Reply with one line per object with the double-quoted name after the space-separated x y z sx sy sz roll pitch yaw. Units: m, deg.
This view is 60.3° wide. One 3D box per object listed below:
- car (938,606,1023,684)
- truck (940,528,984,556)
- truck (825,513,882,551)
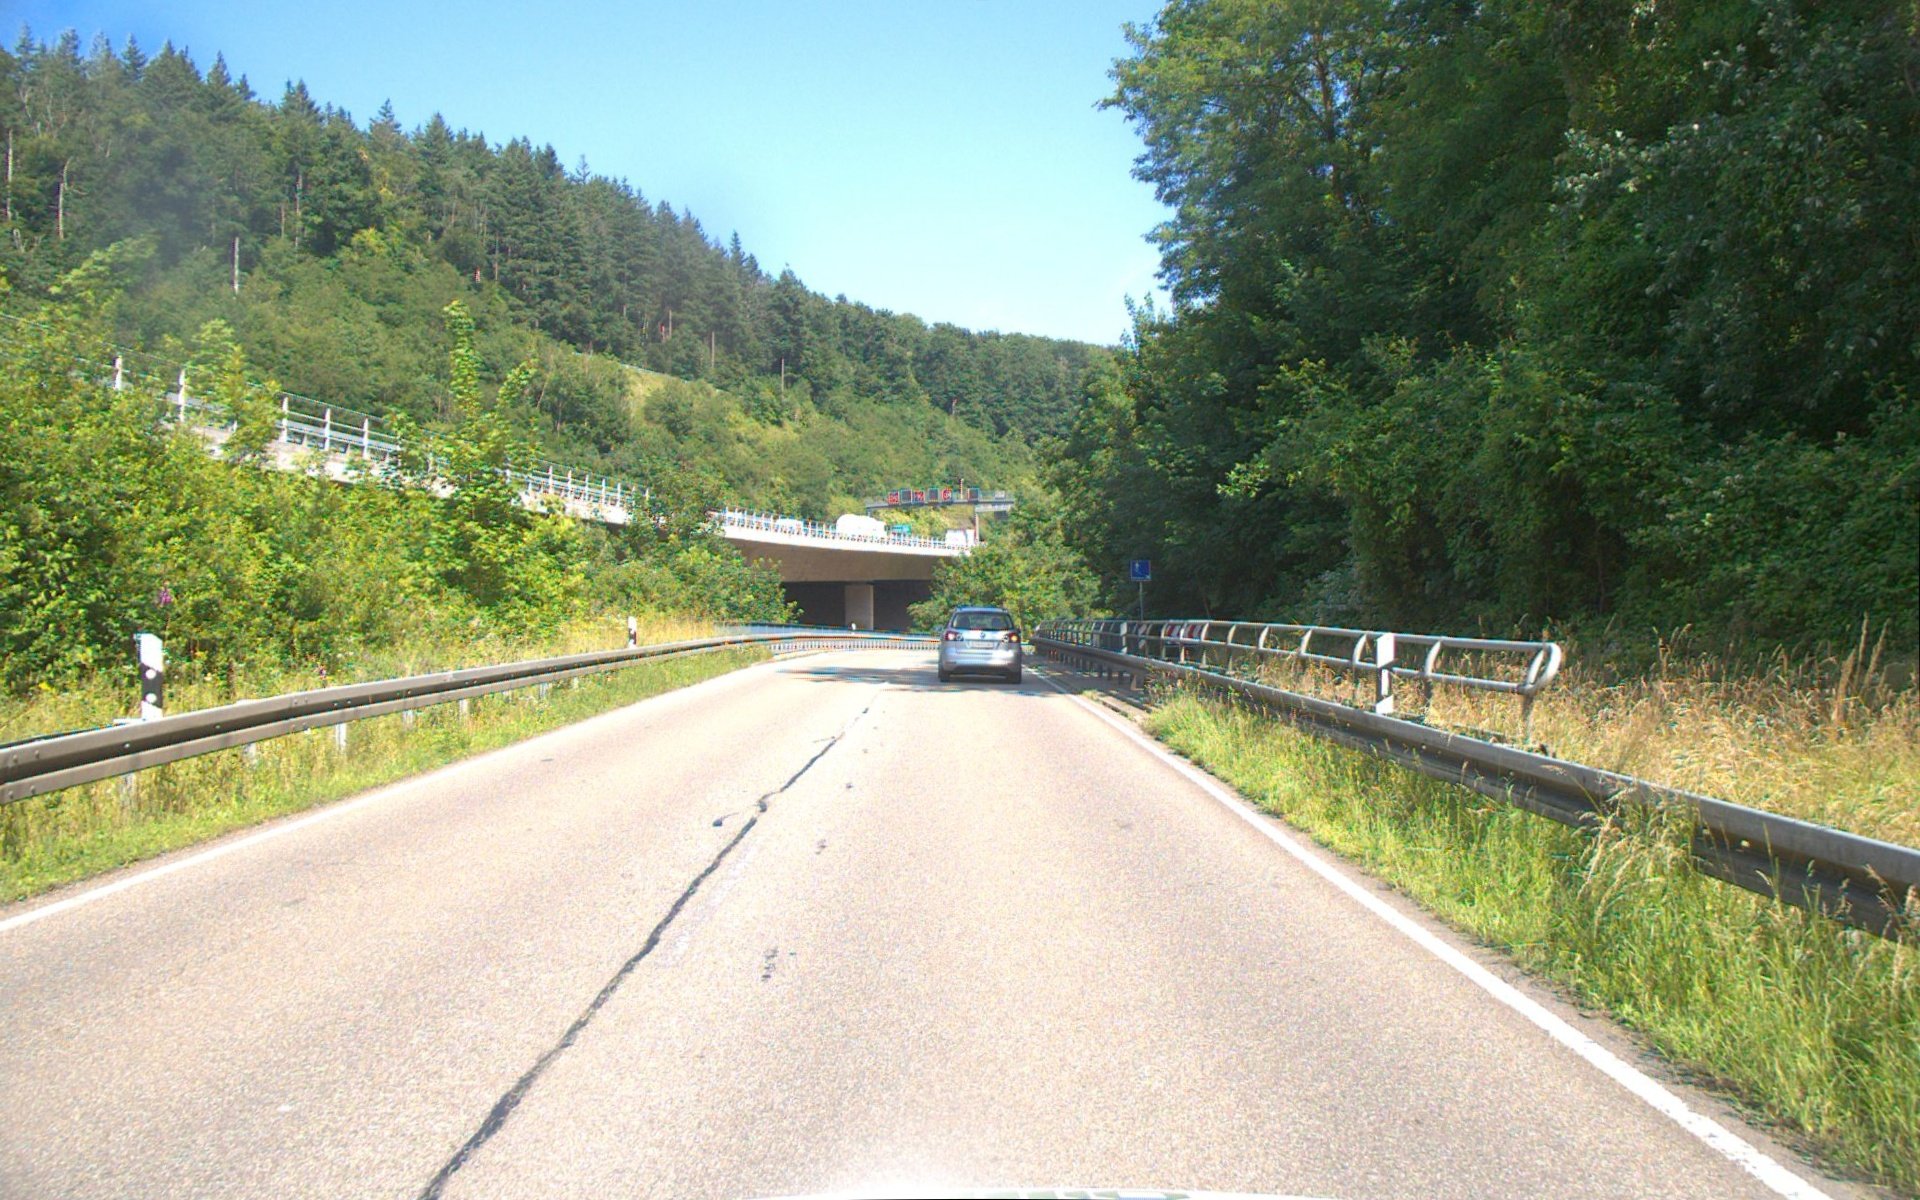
0.390 0.934 35.677 1.715 1.546 4.158 1 -1 -1 "car"
0.335 -7.702 221.600 3.679 3.444 10.517 1 1 12 "truck"
-10.760 -6.873 168.663 3.298 3.413 10.185 1 0 11 "truck"
